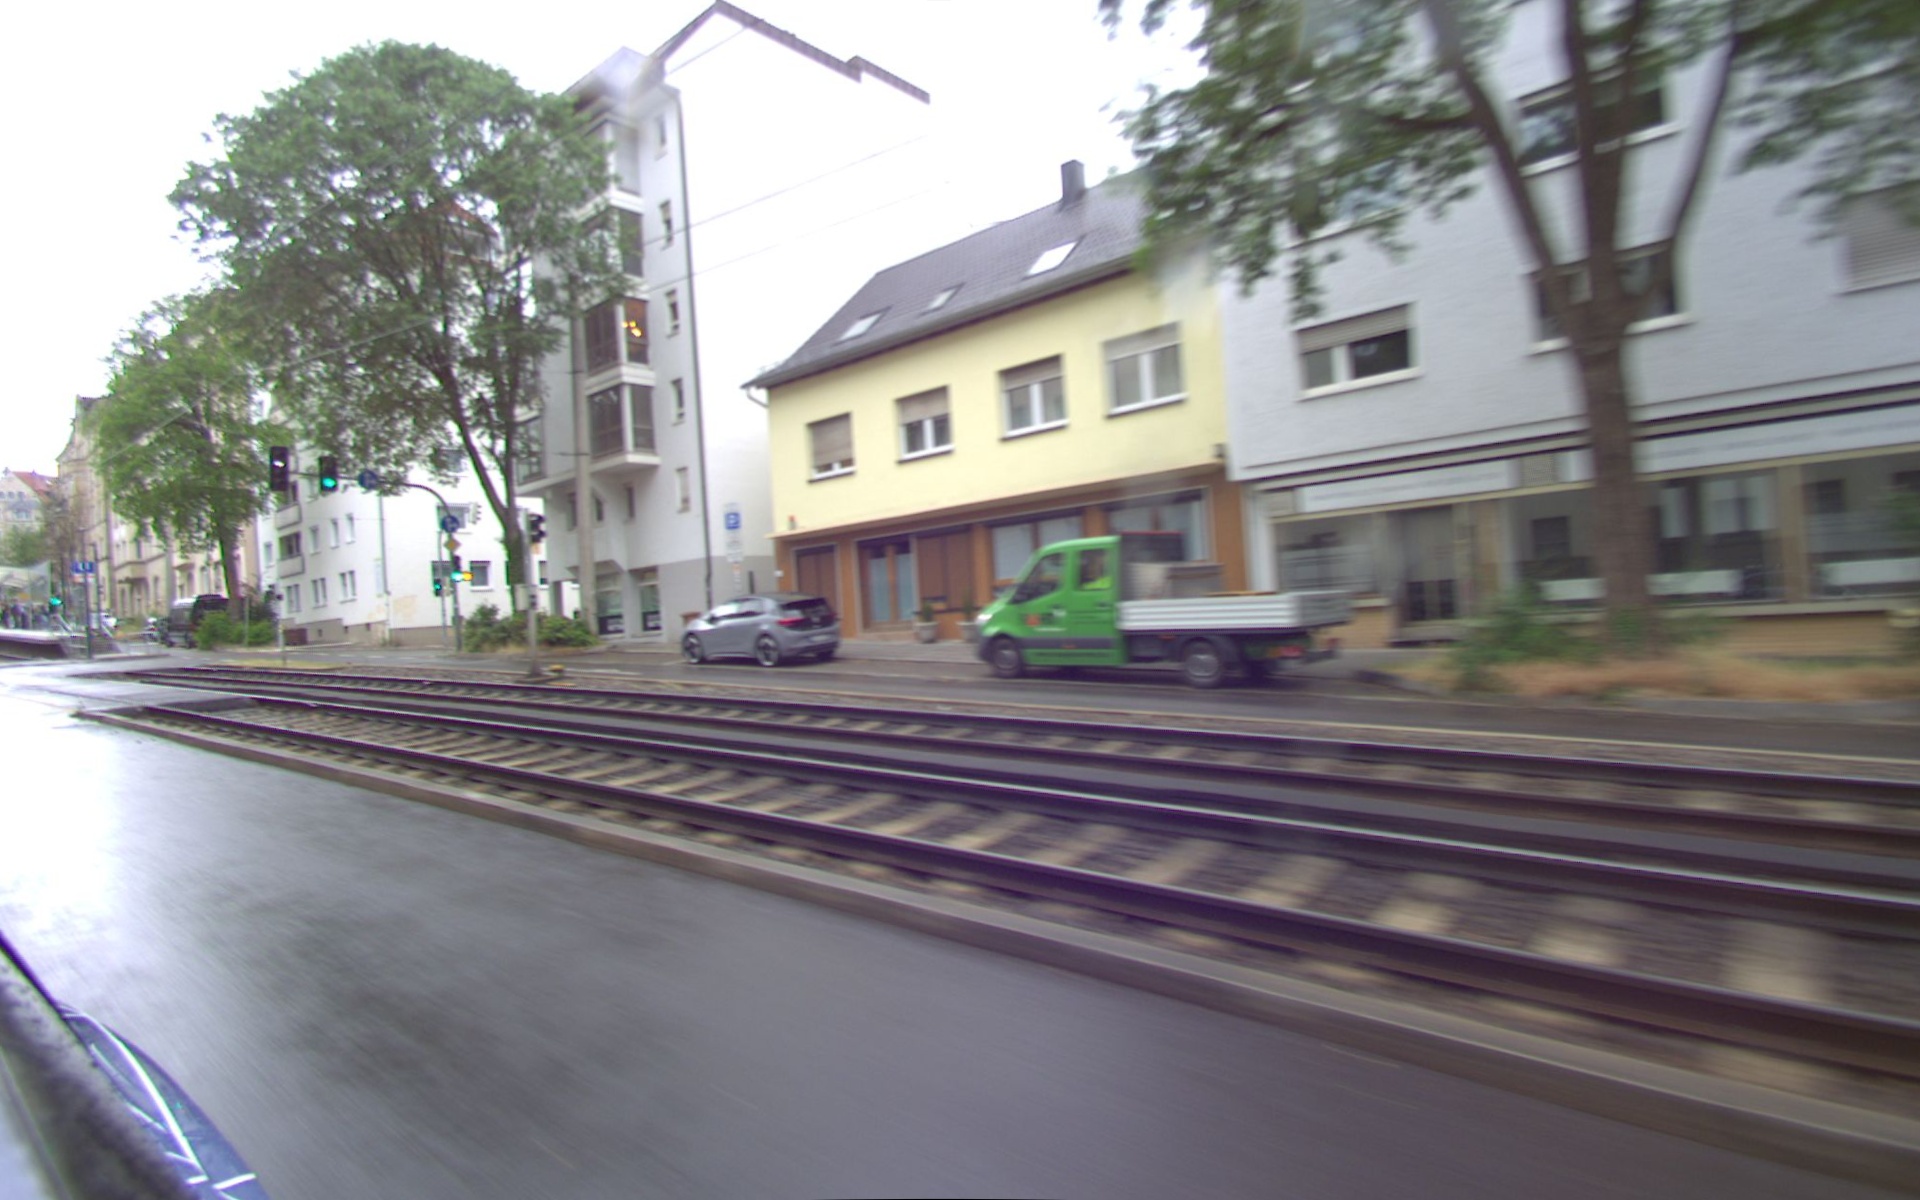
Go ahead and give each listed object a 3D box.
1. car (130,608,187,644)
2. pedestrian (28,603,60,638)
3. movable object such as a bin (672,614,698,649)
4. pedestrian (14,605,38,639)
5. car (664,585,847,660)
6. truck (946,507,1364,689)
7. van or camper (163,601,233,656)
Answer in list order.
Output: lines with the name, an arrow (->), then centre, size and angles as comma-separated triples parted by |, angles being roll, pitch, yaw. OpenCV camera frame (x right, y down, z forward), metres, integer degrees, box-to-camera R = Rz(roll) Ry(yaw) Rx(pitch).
car -> -48.110, 1.534, 60.724 | 3.999, 2.029, 1.972 | -2, 0, 42
pedestrian -> -48.203, 1.091, 53.267 | 0.965, 1.796, 1.106 | -2, 0, 41
movable object such as a bin -> -8.222, 0.928, 30.222 | 0.644, 1.022, 0.434 | -2, 0, 39
pedestrian -> -52.035, 1.238, 56.387 | 0.860, 1.865, 0.892 | -2, 0, 42
car -> -4.687, 0.501, 22.873 | 4.358, 1.471, 1.687 | -2, 2, 41
truck -> 2.828, -0.053, 16.116 | 6.352, 2.363, 2.168 | 0, 1, 43
van or camper -> -40.975, 1.493, 54.375 | 5.211, 2.819, 1.972 | -1, 0, 42
